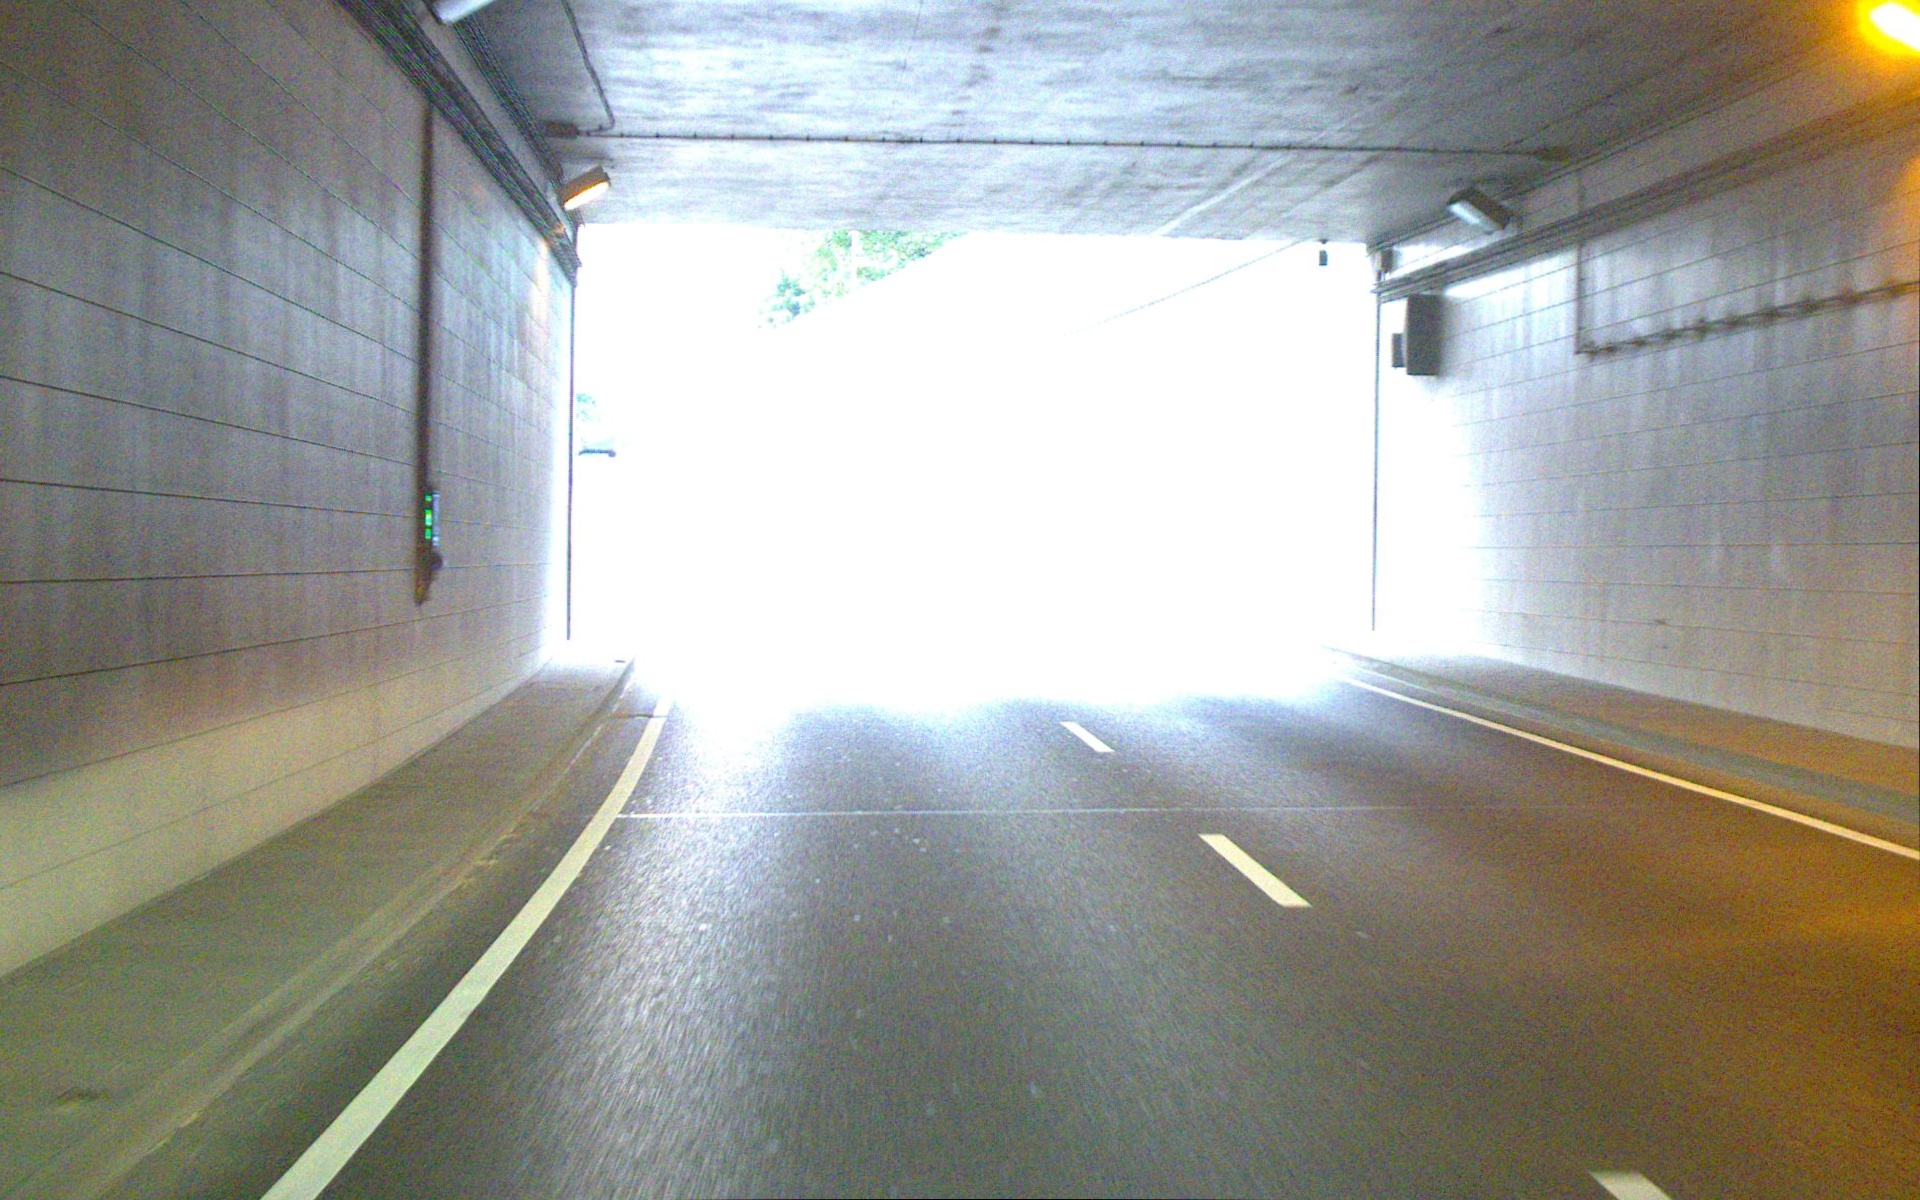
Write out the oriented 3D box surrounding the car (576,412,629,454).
[{"bbox_3d":[-16.043,-7.484,154.224,1.869,1.726,4.001,1,1,-13],"label":"car"}]
